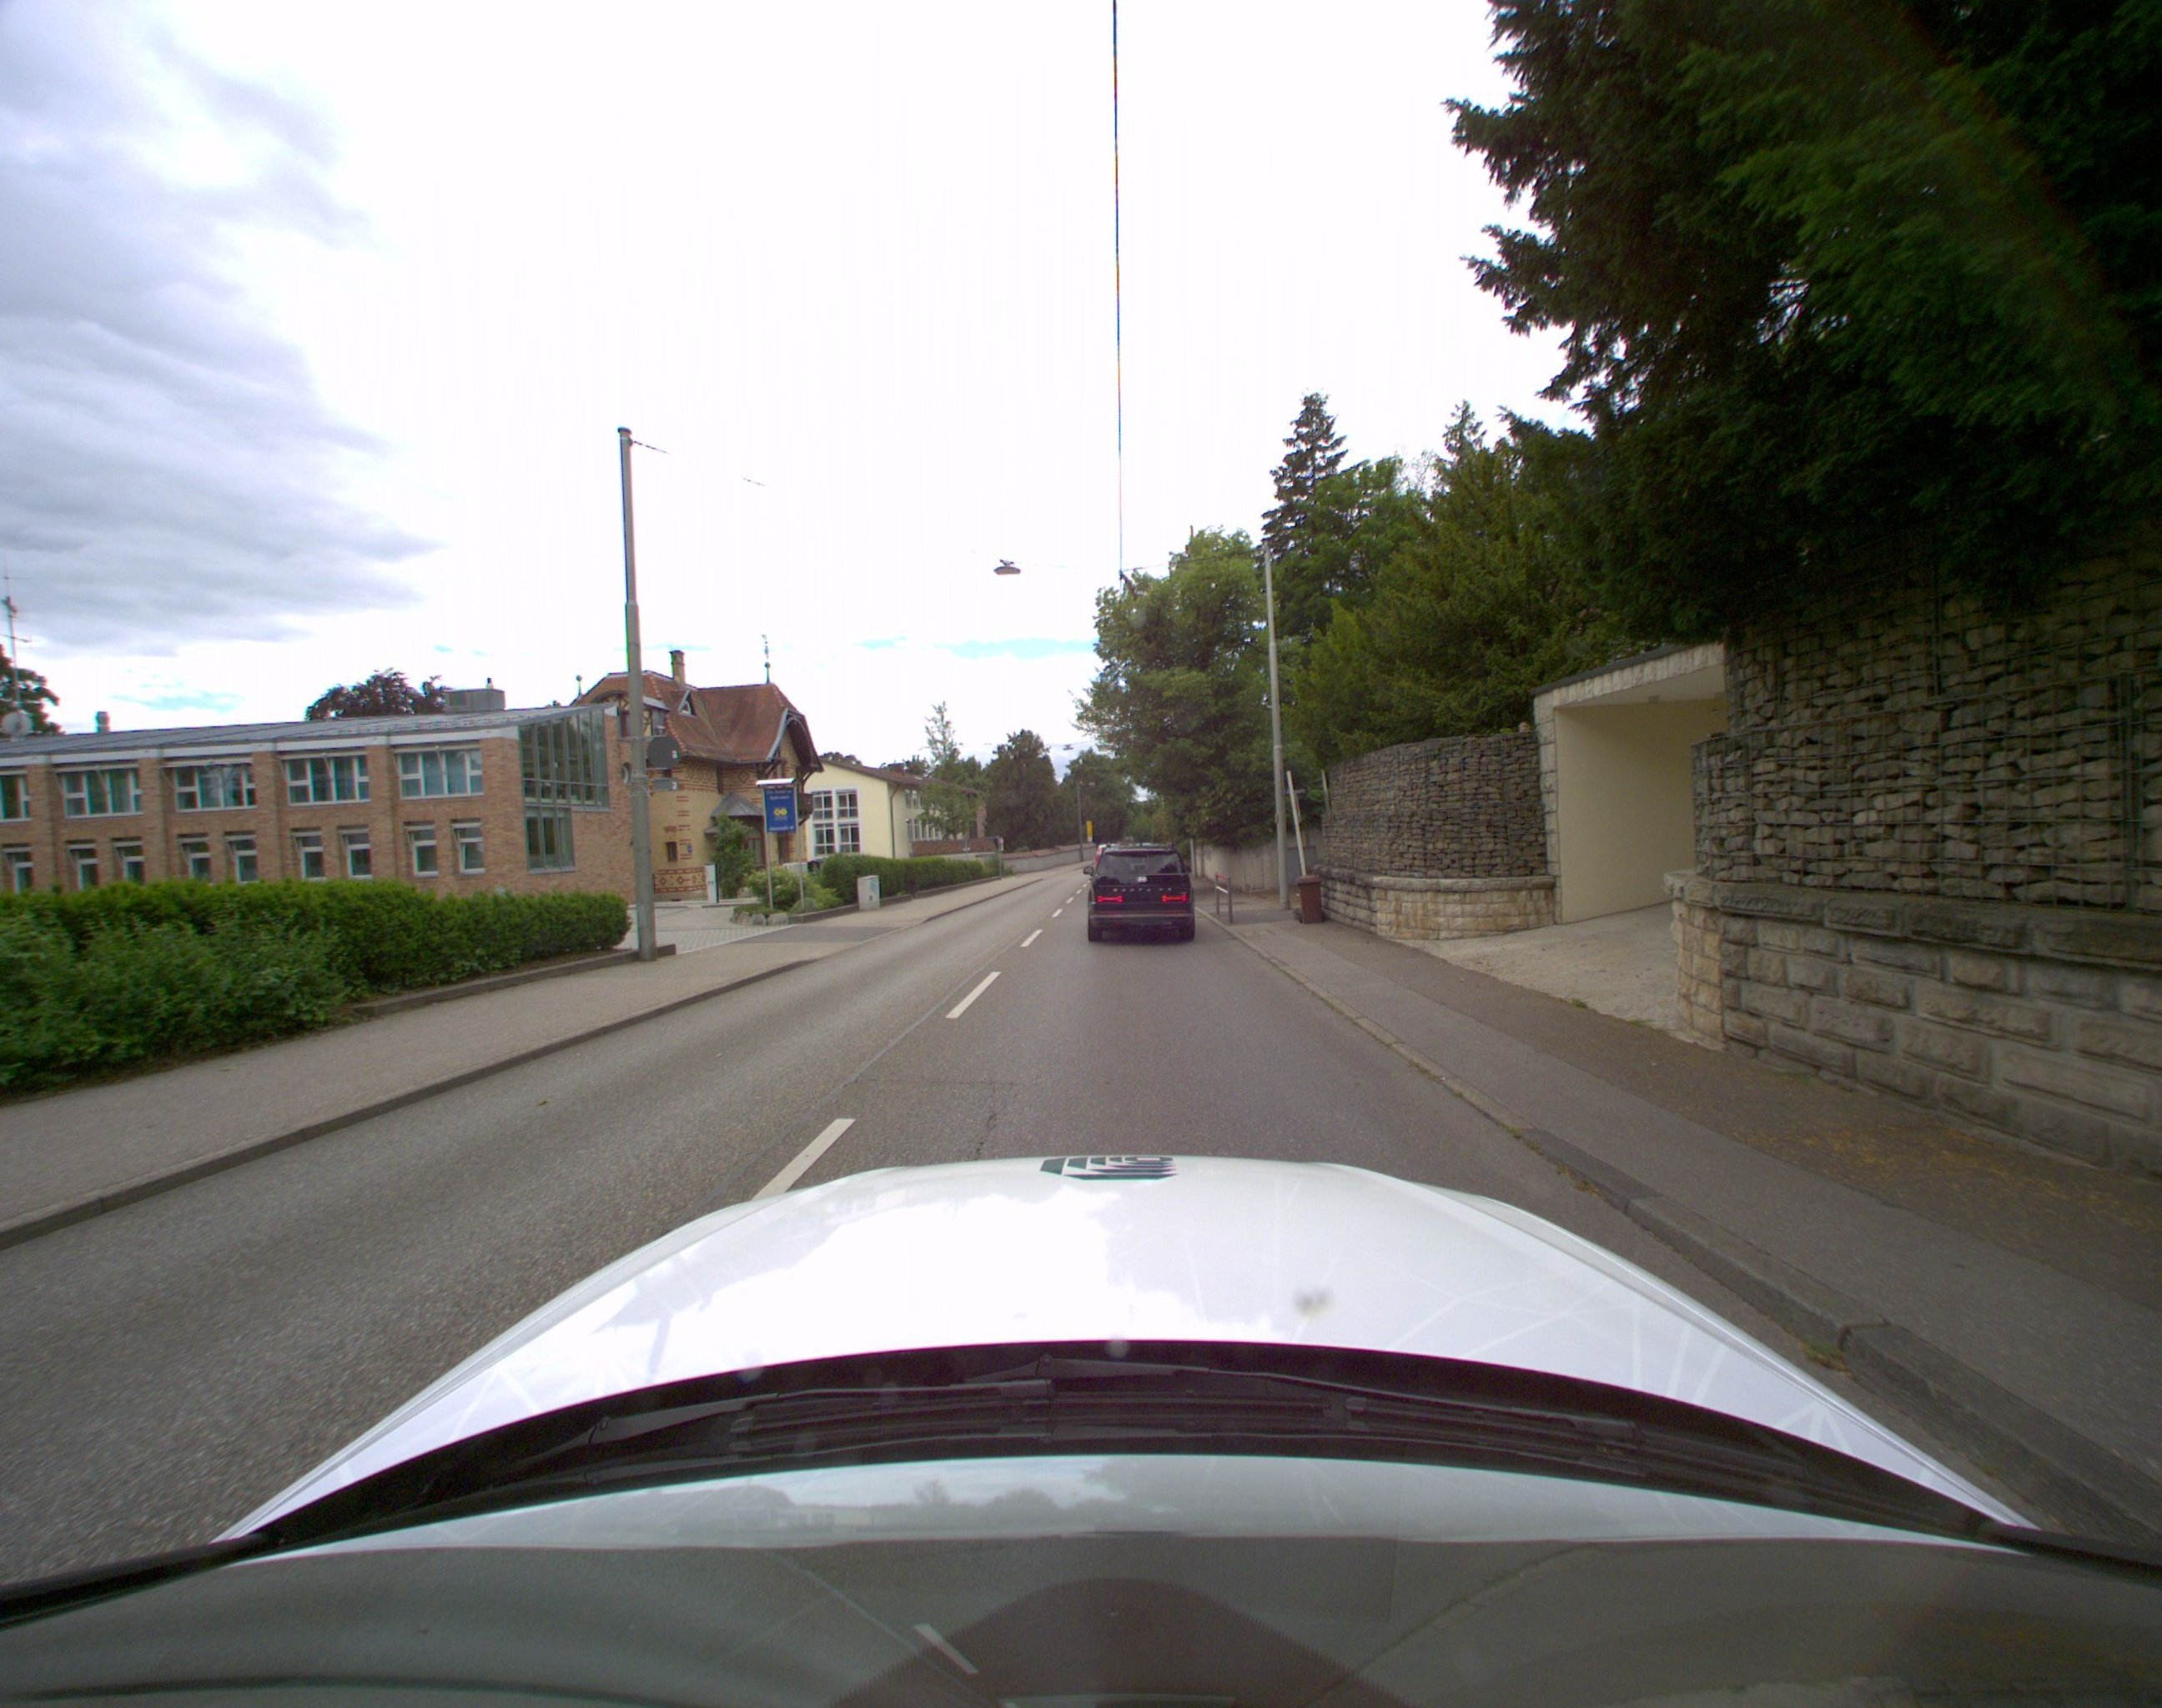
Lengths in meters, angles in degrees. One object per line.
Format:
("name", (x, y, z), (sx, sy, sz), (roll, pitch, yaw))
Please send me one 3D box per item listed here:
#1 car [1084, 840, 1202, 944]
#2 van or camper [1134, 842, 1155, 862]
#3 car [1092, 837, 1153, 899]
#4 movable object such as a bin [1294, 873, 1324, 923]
("car", (1.126, 0.614, 15.586), (1.949, 1.713, 4.226), (0, 0, 3))
("van or camper", (6.825, -0.230, 87.260), (1.665, 2.007, 3.950), (-3, 2, 11))
("car", (1.364, 0.406, 28.314), (1.950, 1.955, 4.225), (0, 2, 1))
("movable object such as a bin", (4.392, 0.843, 15.682), (0.442, 0.910, 0.395), (-6, -1, 11))
